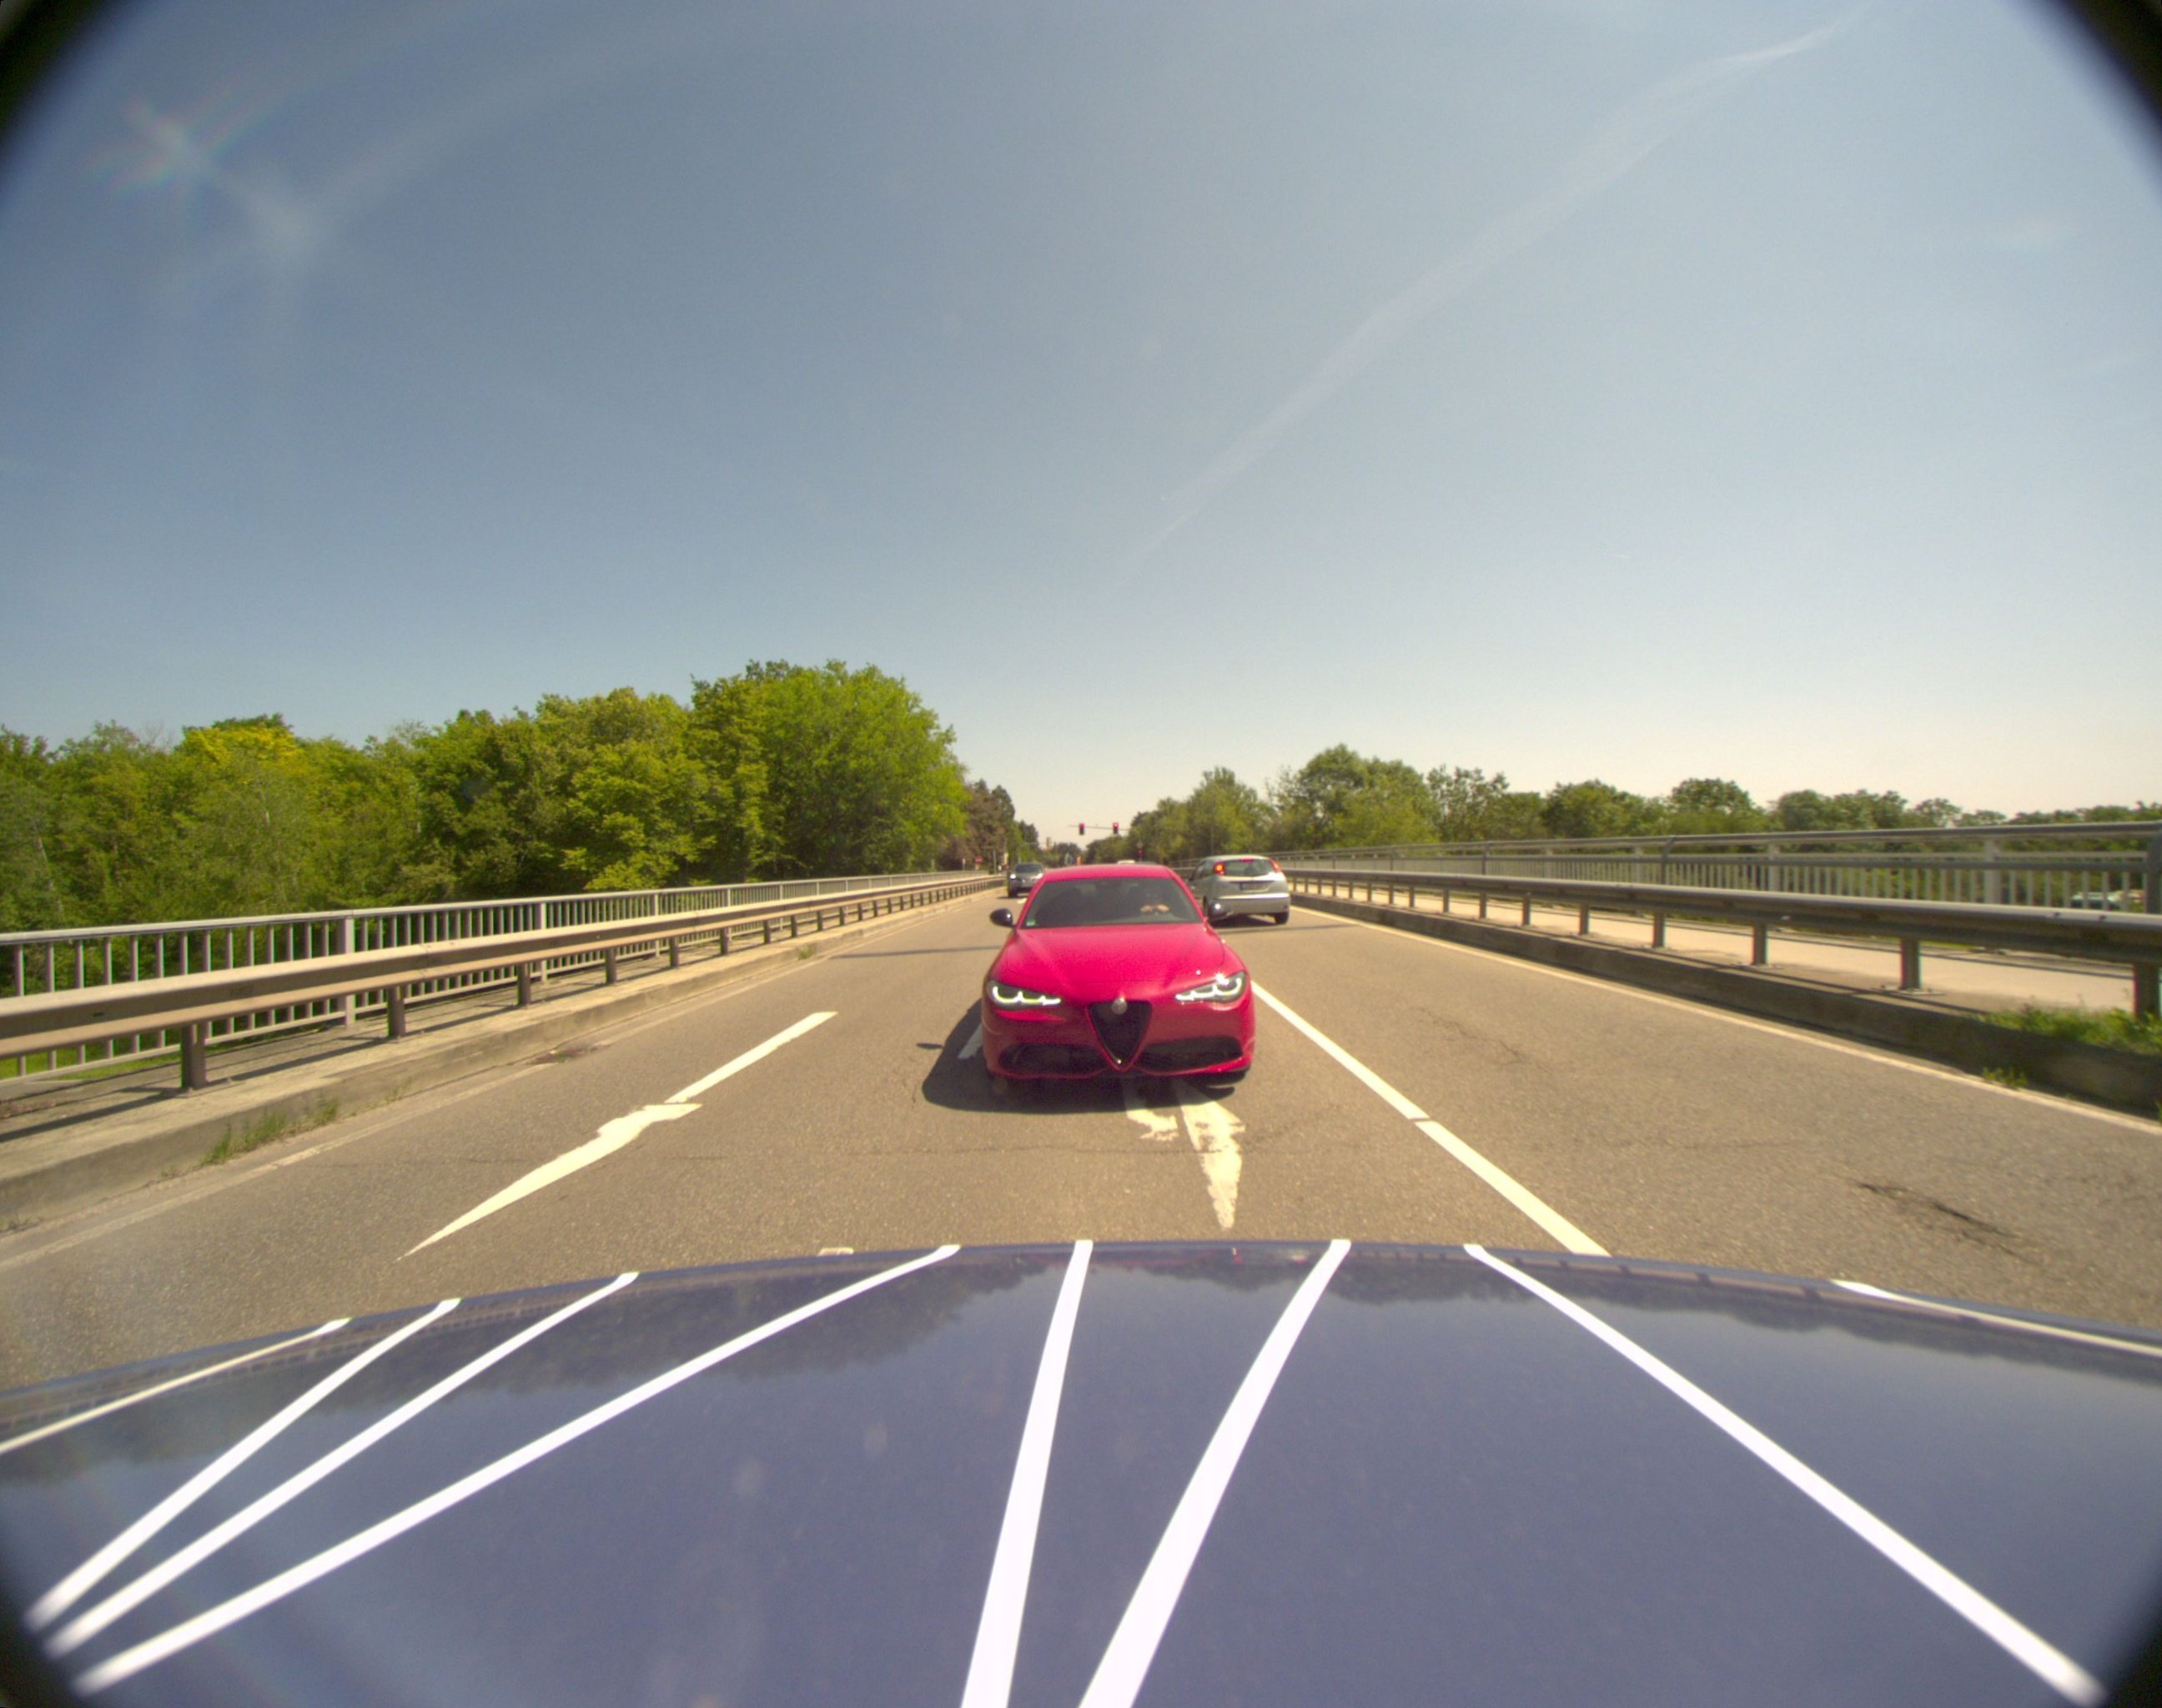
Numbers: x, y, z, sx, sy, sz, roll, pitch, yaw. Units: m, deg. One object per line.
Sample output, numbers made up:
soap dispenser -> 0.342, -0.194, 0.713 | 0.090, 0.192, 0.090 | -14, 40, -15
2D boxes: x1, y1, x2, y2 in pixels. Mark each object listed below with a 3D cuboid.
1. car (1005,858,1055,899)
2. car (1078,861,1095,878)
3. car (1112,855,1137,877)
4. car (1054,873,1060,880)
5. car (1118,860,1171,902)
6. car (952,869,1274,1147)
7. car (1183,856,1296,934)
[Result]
car -> -2.257, 1.054, 34.598 | 1.848, 1.675, 4.000 | -2, 0, 1
car -> 0.560, 1.575, 78.201 | 1.633, 1.667, 3.490 | -2, 1, 1
car -> 3.663, 0.987, 64.449 | 1.848, 1.758, 4.000 | -2, 0, 1
car -> -6.141, 5.725, 193.707 | 1.416, 1.499, 3.316 | -1, 1, 0
car -> 2.310, 0.957, 28.484 | 1.647, 1.373, 3.938 | -2, 0, 1
car -> 0.220, 0.930, 6.494 | 1.800, 1.448, 4.285 | -2, 0, 1
car -> 3.370, 0.814, 16.790 | 1.800, 1.448, 3.707 | -2, 0, 2
